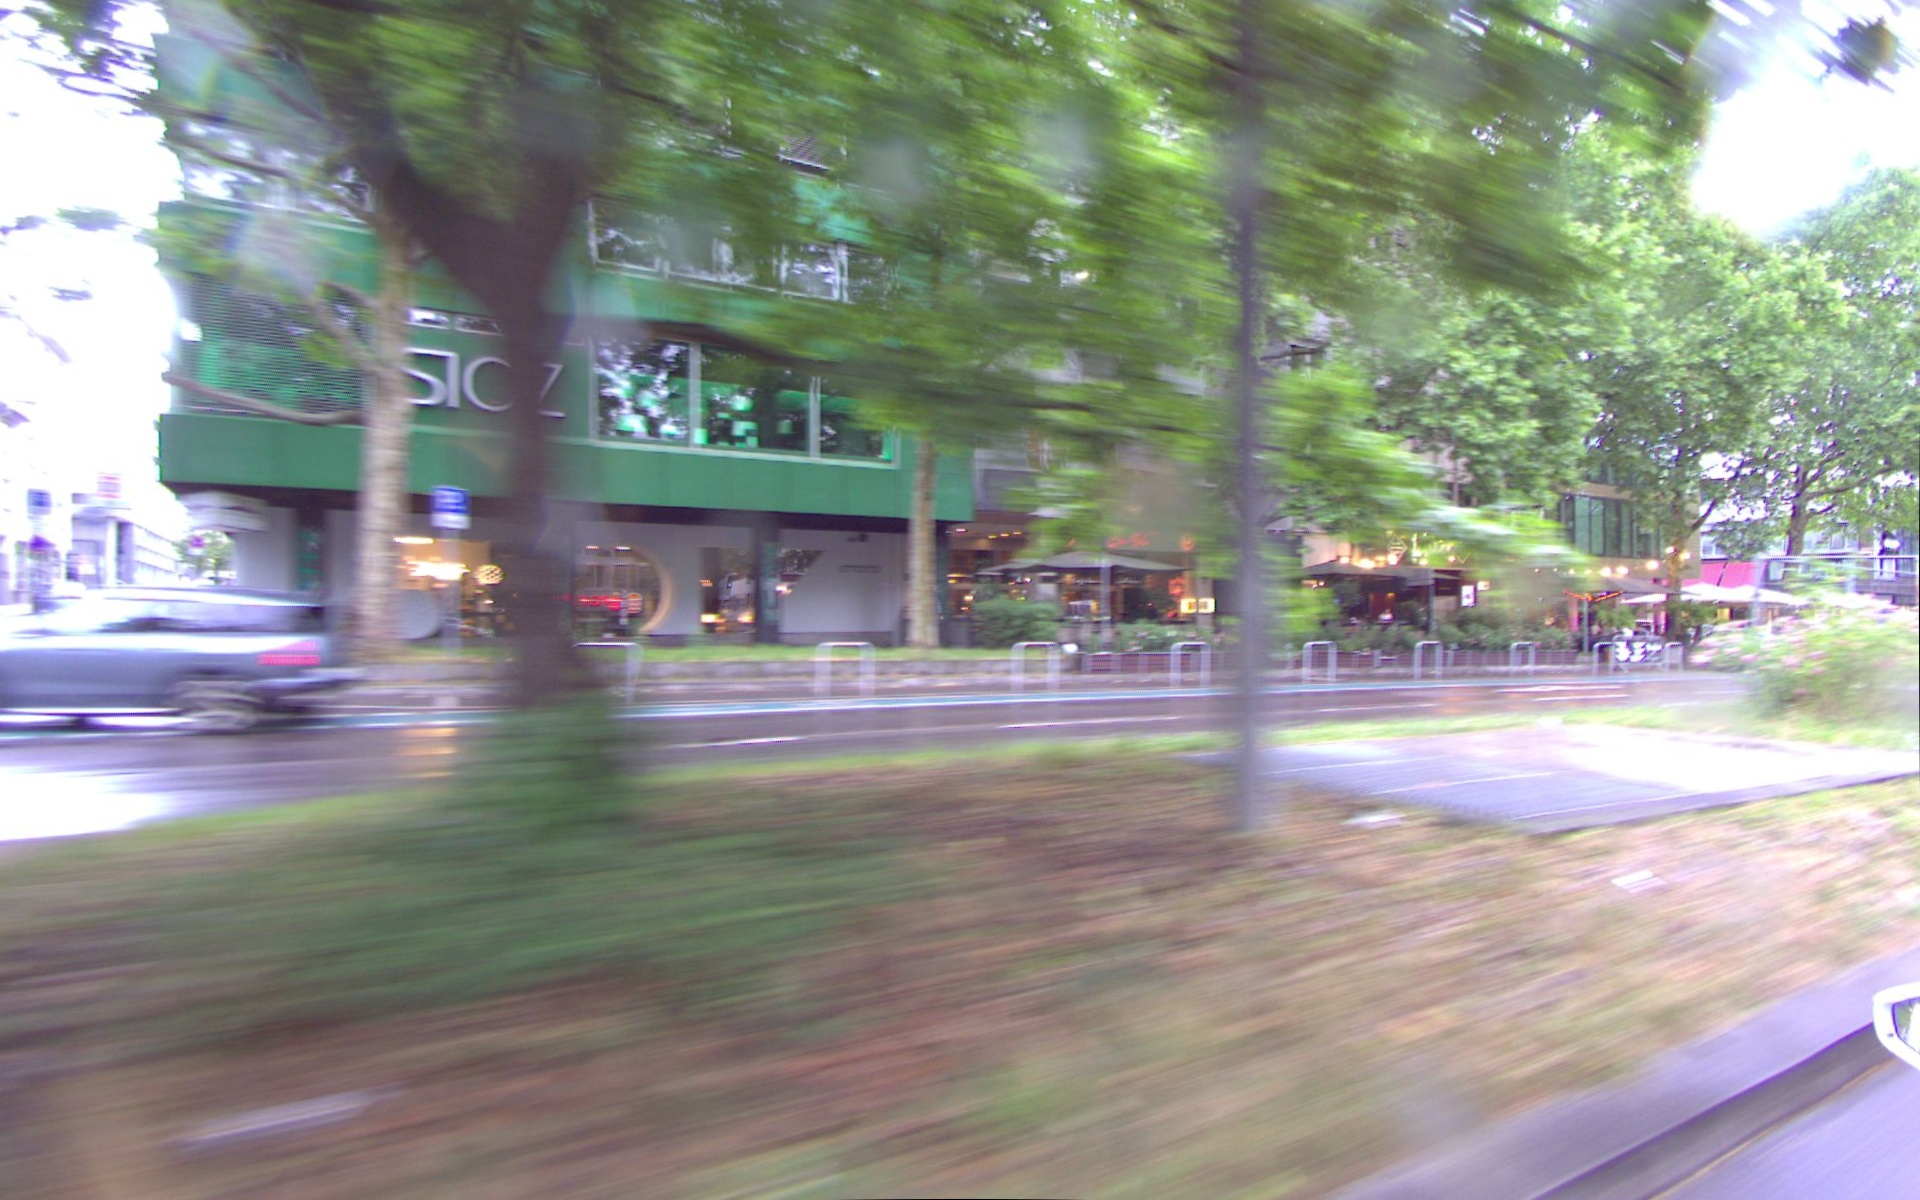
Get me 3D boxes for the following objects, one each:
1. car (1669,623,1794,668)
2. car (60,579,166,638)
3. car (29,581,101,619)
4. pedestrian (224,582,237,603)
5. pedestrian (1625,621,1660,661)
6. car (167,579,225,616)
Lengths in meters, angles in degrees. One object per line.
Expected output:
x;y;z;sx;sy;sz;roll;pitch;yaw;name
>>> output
25.889;1.493;33.676;4.431;1.413;1.816;1;-1;-30;car
-26.143;0.258;31.138;1.979;1.706;3.963;1;0;-33;car
-42.952;0.016;48.285;1.979;1.706;3.963;1;0;-33;car
-57.506;-0.611;79.207;0.549;1.636;0.565;2;0;13;pedestrian
24.859;1.479;36.575;0.923;1.398;0.759;1;0;-33;pedestrian
-37.813;-0.110;49.815;1.979;1.706;3.963;1;0;-33;car
